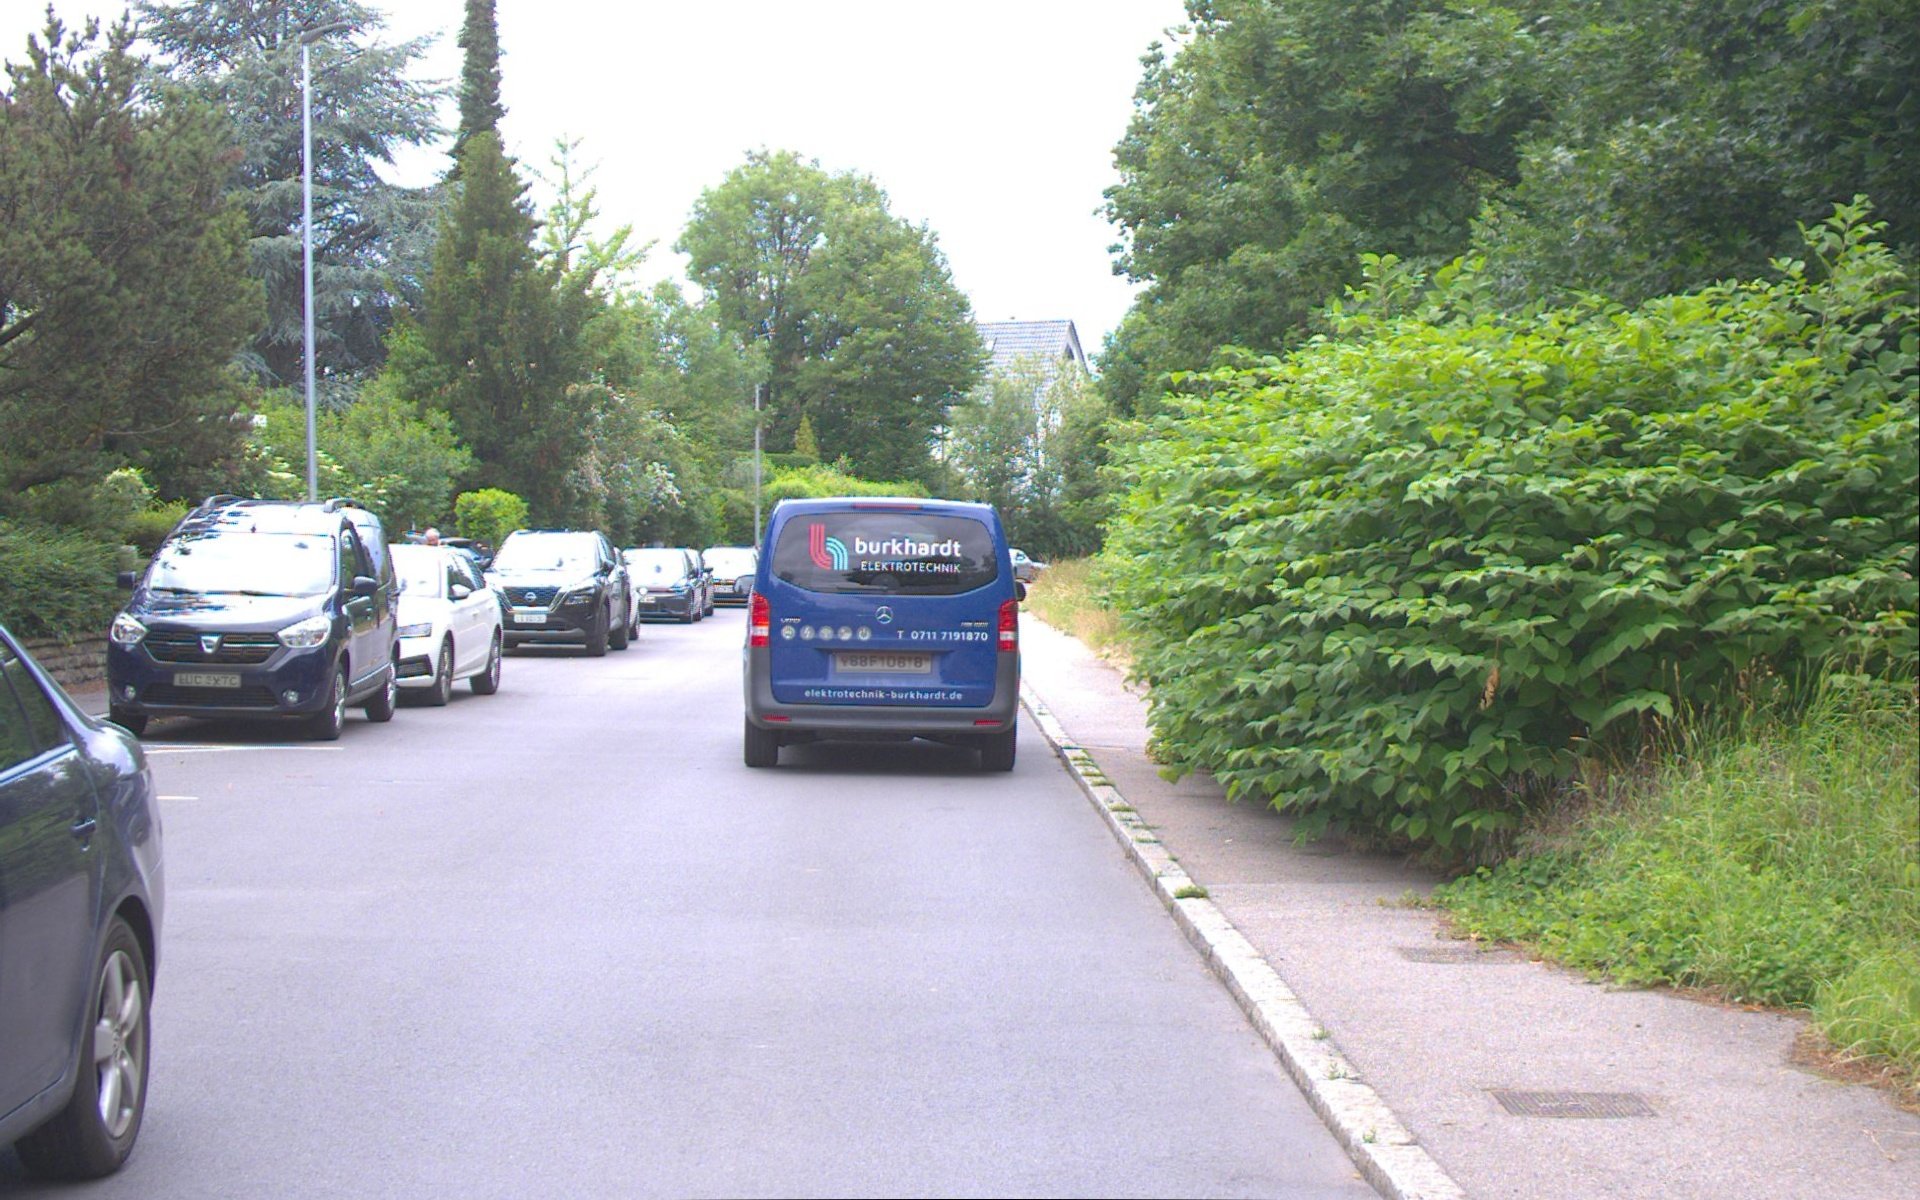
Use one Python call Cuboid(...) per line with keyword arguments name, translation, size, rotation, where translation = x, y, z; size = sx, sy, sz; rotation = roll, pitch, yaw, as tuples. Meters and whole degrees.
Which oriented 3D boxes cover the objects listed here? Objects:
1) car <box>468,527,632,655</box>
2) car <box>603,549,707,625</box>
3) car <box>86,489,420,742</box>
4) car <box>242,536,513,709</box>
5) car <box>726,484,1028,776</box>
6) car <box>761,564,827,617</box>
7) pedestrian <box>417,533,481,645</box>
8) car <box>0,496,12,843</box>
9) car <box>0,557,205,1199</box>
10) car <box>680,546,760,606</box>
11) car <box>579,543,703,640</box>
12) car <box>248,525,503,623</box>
Cuboid(name="car", translation=(-5.640, -0.158, 47.745), size=(1.791, 1.658, 4.392), rotation=(1, 1, -1))
Cuboid(name="car", translation=(-5.938, -0.277, 67.248), size=(1.707, 1.411, 4.150), rotation=(1, 1, -1))
Cuboid(name="car", translation=(-5.446, 0.079, 26.988), size=(1.707, 1.793, 4.298), rotation=(1, 1, 0))
Cuboid(name="car", translation=(-5.463, 0.163, 32.776), size=(1.707, 1.506, 4.554), rotation=(1, 1, 1))
Cuboid(name="car", translation=(-0.618, 0.157, 24.733), size=(1.936, 1.873, 4.531), rotation=(1, 1, -2))
Cuboid(name="car", translation=(-4.958, -0.303, 103.155), size=(1.544, 1.509, 3.643), rotation=(1, 1, 4))
Cuboid(name="pedestrian", translation=(-7.287, -0.163, 49.075), size=(0.769, 1.569, 0.820), rotation=(1, 1, 0))
Cuboid(name="car", translation=(-5.322, 0.343, 13.624), size=(1.796, 1.601, 4.730), rotation=(1, 1, 0))
Cuboid(name="car", translation=(-2.828, 0.652, 6.824), size=(1.707, 1.469, 4.195), rotation=(1, 1, 0))
Cuboid(name="car", translation=(-5.859, -0.603, 84.297), size=(1.707, 1.405, 4.161), rotation=(1, 1, -1))
Cuboid(name="car", translation=(-5.235, -0.163, 56.797), size=(1.707, 1.506, 3.946), rotation=(1, 1, -1))
Cuboid(name="car", translation=(-10.307, -0.468, 60.691), size=(3.989, 1.542, 1.840), rotation=(2, 1, 14))
